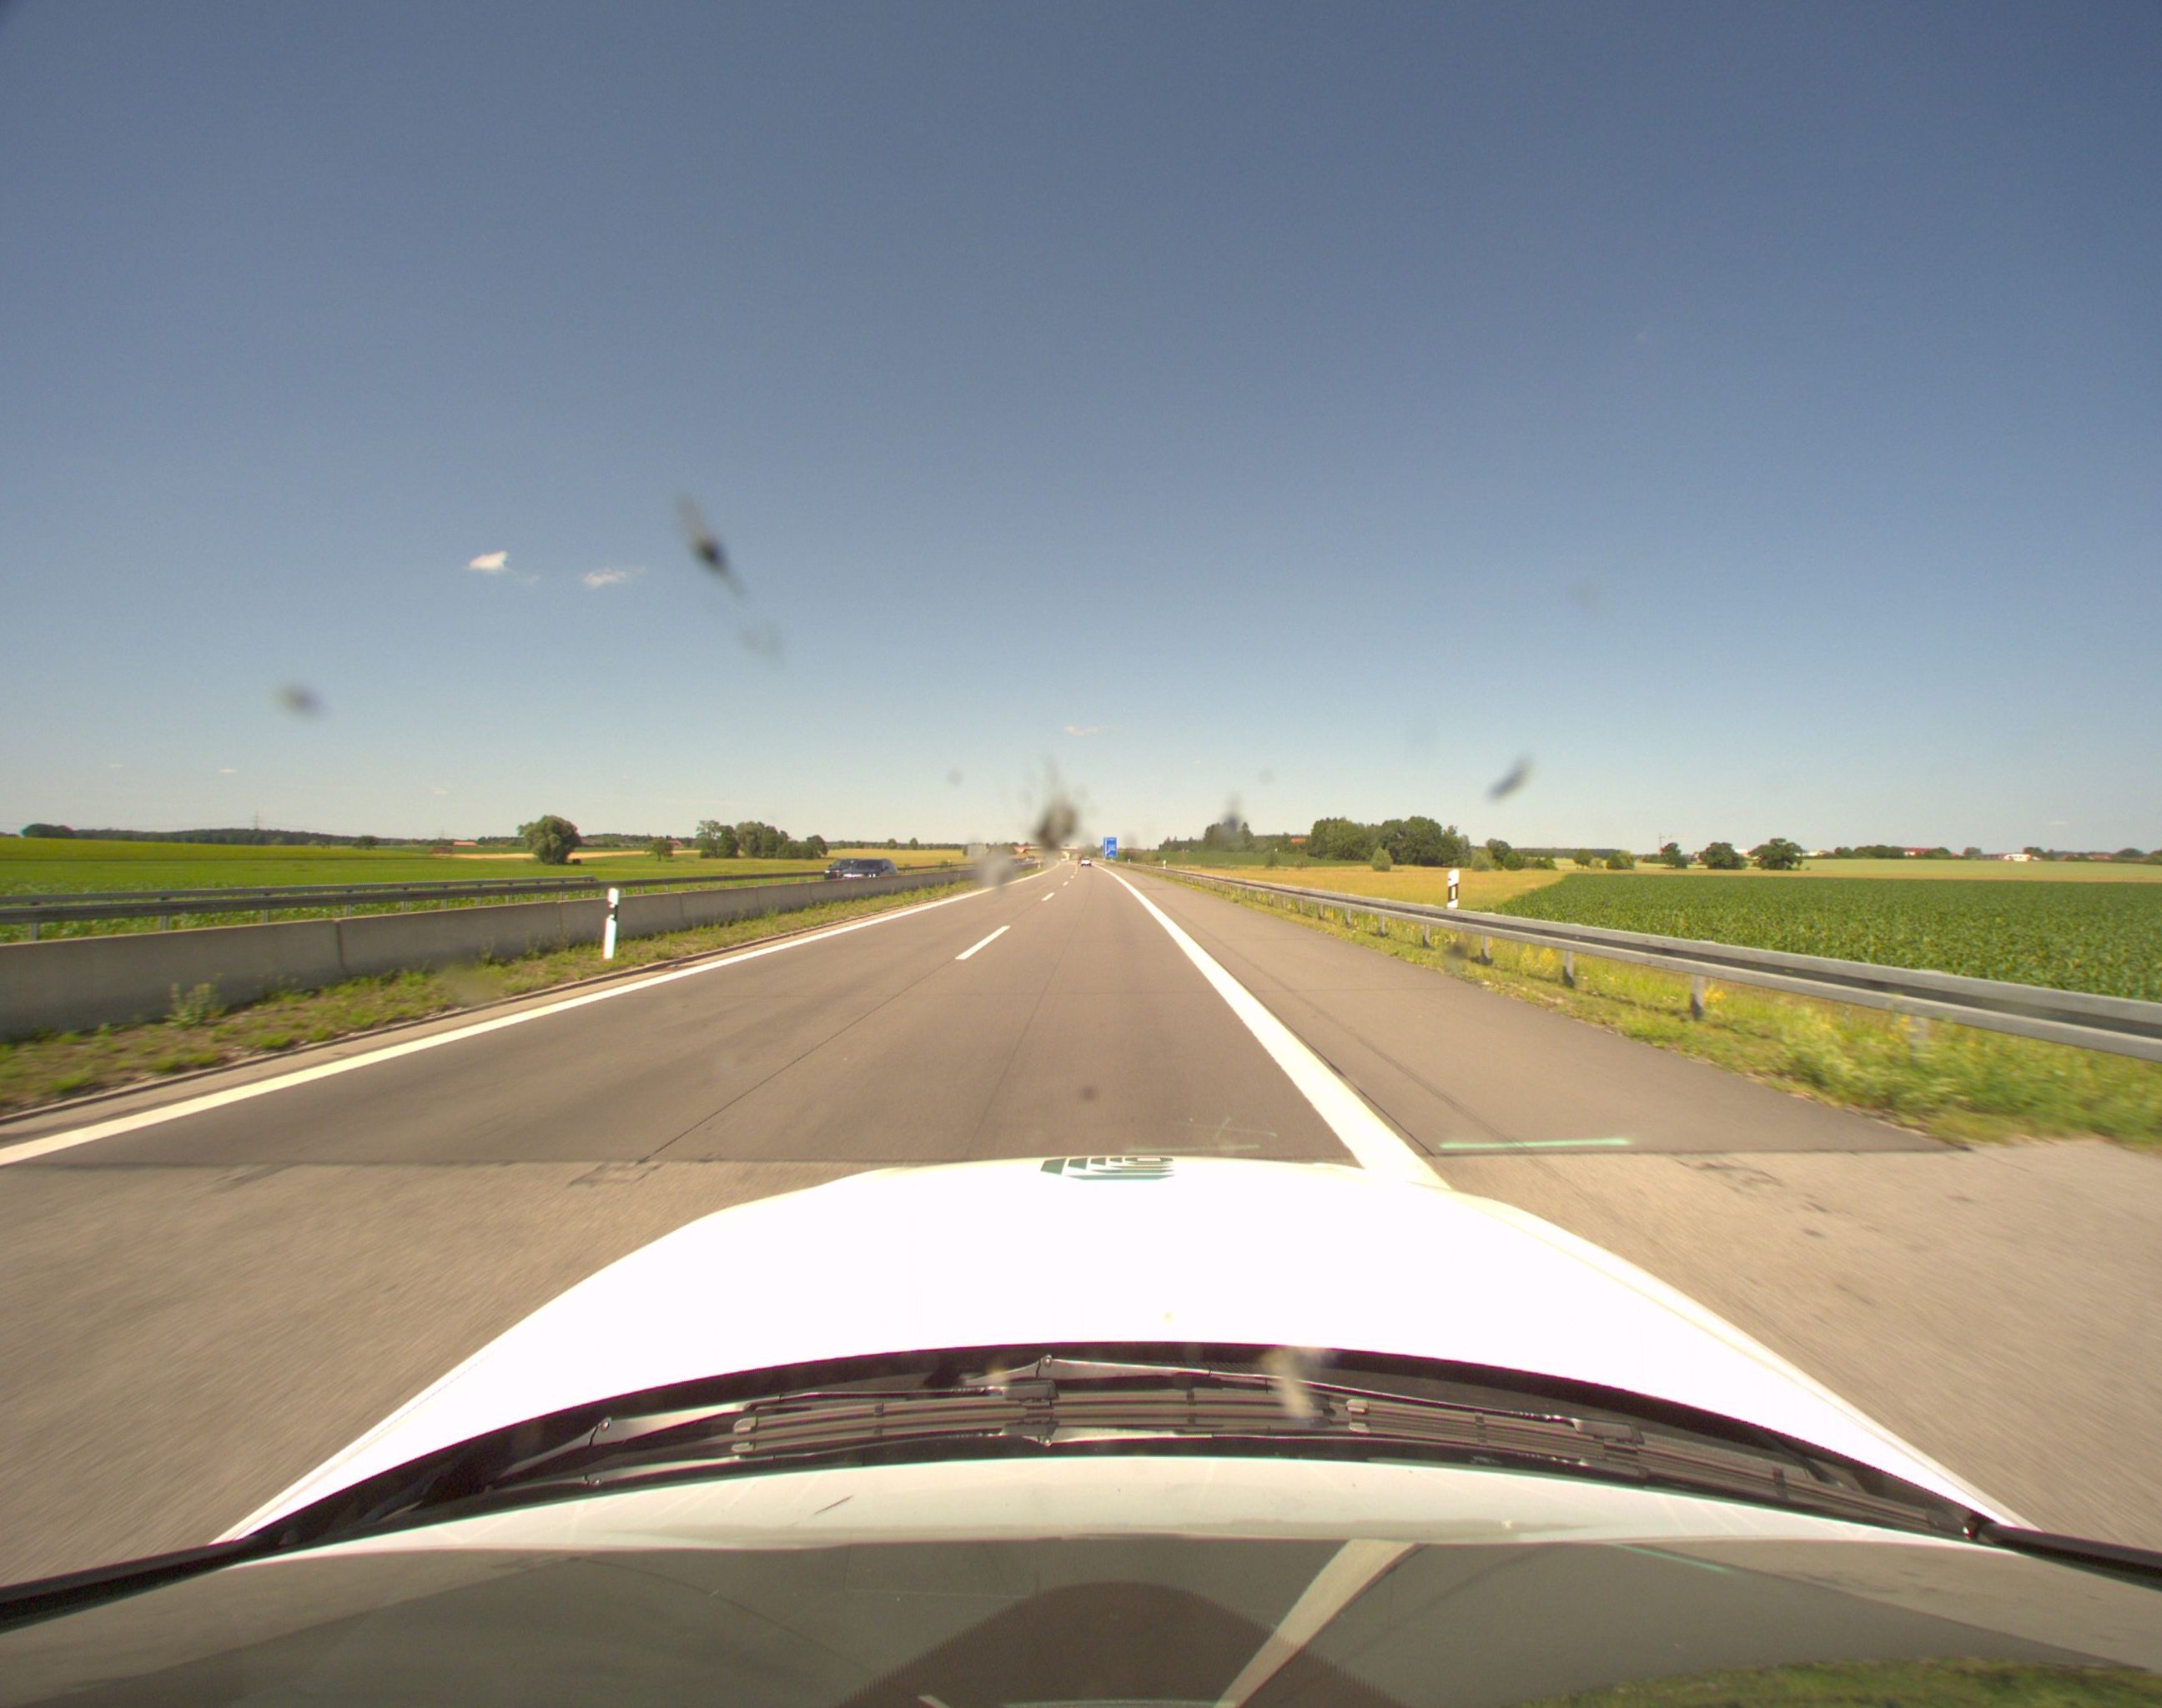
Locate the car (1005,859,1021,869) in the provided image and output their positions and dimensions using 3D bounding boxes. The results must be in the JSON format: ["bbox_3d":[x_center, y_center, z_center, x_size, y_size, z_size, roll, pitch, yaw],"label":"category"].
[{"bbox_3d":[-9.223,1.332,110.465,1.817,1.365,4.659,-1,0,0],"label":"car"}]

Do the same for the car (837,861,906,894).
[{"bbox_3d":[-9.780,1.068,38.493,1.816,1.365,5.198,-1,0,1],"label":"car"}]

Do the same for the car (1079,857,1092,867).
[{"bbox_3d":[0.765,1.398,146.209,1.989,1.731,4.863,0,0,-4],"label":"car"}]

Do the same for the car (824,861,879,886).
[{"bbox_3d":[-13.342,1.102,47.586,1.816,1.365,4.664,-1,0,1],"label":"car"}]

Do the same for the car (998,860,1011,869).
[{"bbox_3d":[-13.195,1.822,140.898,1.817,1.365,5.294,-1,0,0],"label":"car"}]
